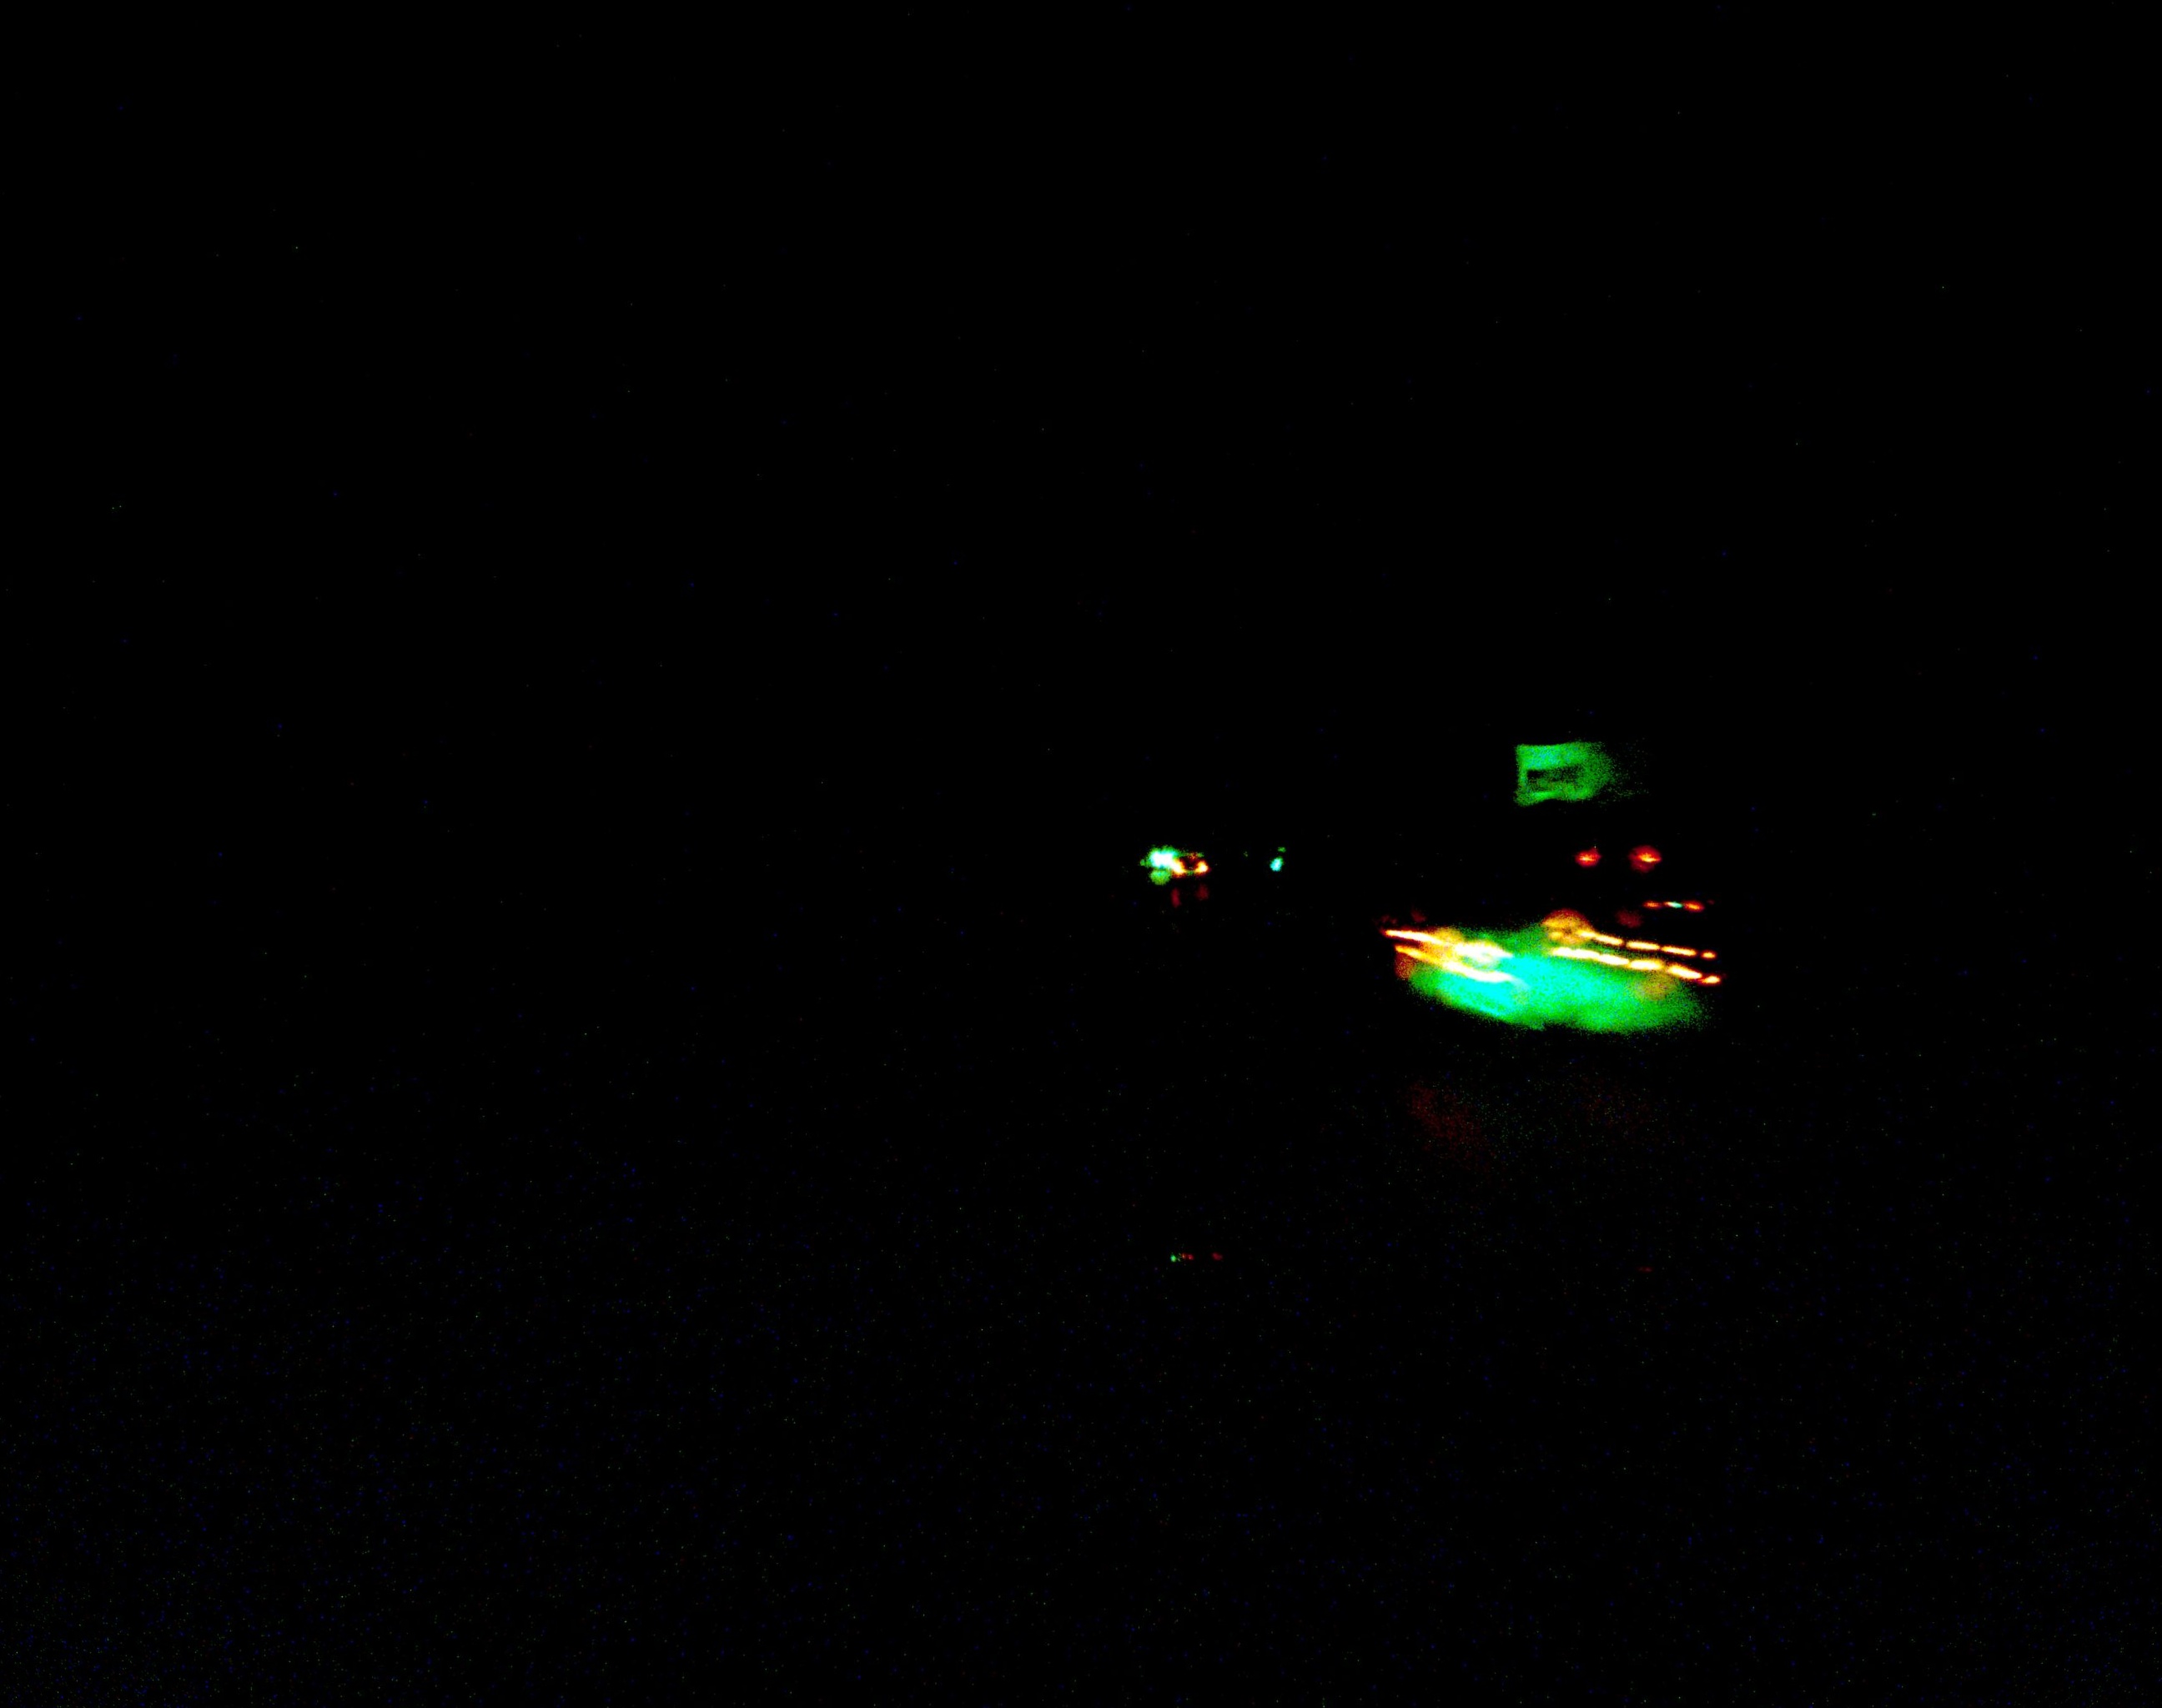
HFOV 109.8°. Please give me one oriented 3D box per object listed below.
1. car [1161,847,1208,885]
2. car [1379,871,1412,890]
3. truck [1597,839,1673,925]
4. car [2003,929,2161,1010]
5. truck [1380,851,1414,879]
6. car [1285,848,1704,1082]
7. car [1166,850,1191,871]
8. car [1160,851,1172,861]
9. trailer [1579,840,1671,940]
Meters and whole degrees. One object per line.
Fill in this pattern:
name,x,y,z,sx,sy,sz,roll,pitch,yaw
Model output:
car,5.204,0.546,38.783,1.998,1.795,4.596,-1,1,3
car,30.924,2.550,74.837,1.812,1.666,4.294,-1,1,7
truck,34.274,1.554,46.871,3.328,4.768,7.333,-1,1,40
car,28.378,3.115,20.473,1.813,1.666,4.292,-1,1,-1
truck,41.523,1.430,100.039,2.760,3.462,8.113,-1,0,13
car,3.483,0.764,7.502,1.793,1.613,4.376,-1,1,1
car,8.246,0.505,64.682,1.812,1.666,4.293,-1,1,4
car,14.594,0.298,130.588,1.823,1.565,4.108,-1,1,8
trailer,30.577,1.690,42.426,3.328,4.768,11.578,-1,1,40
